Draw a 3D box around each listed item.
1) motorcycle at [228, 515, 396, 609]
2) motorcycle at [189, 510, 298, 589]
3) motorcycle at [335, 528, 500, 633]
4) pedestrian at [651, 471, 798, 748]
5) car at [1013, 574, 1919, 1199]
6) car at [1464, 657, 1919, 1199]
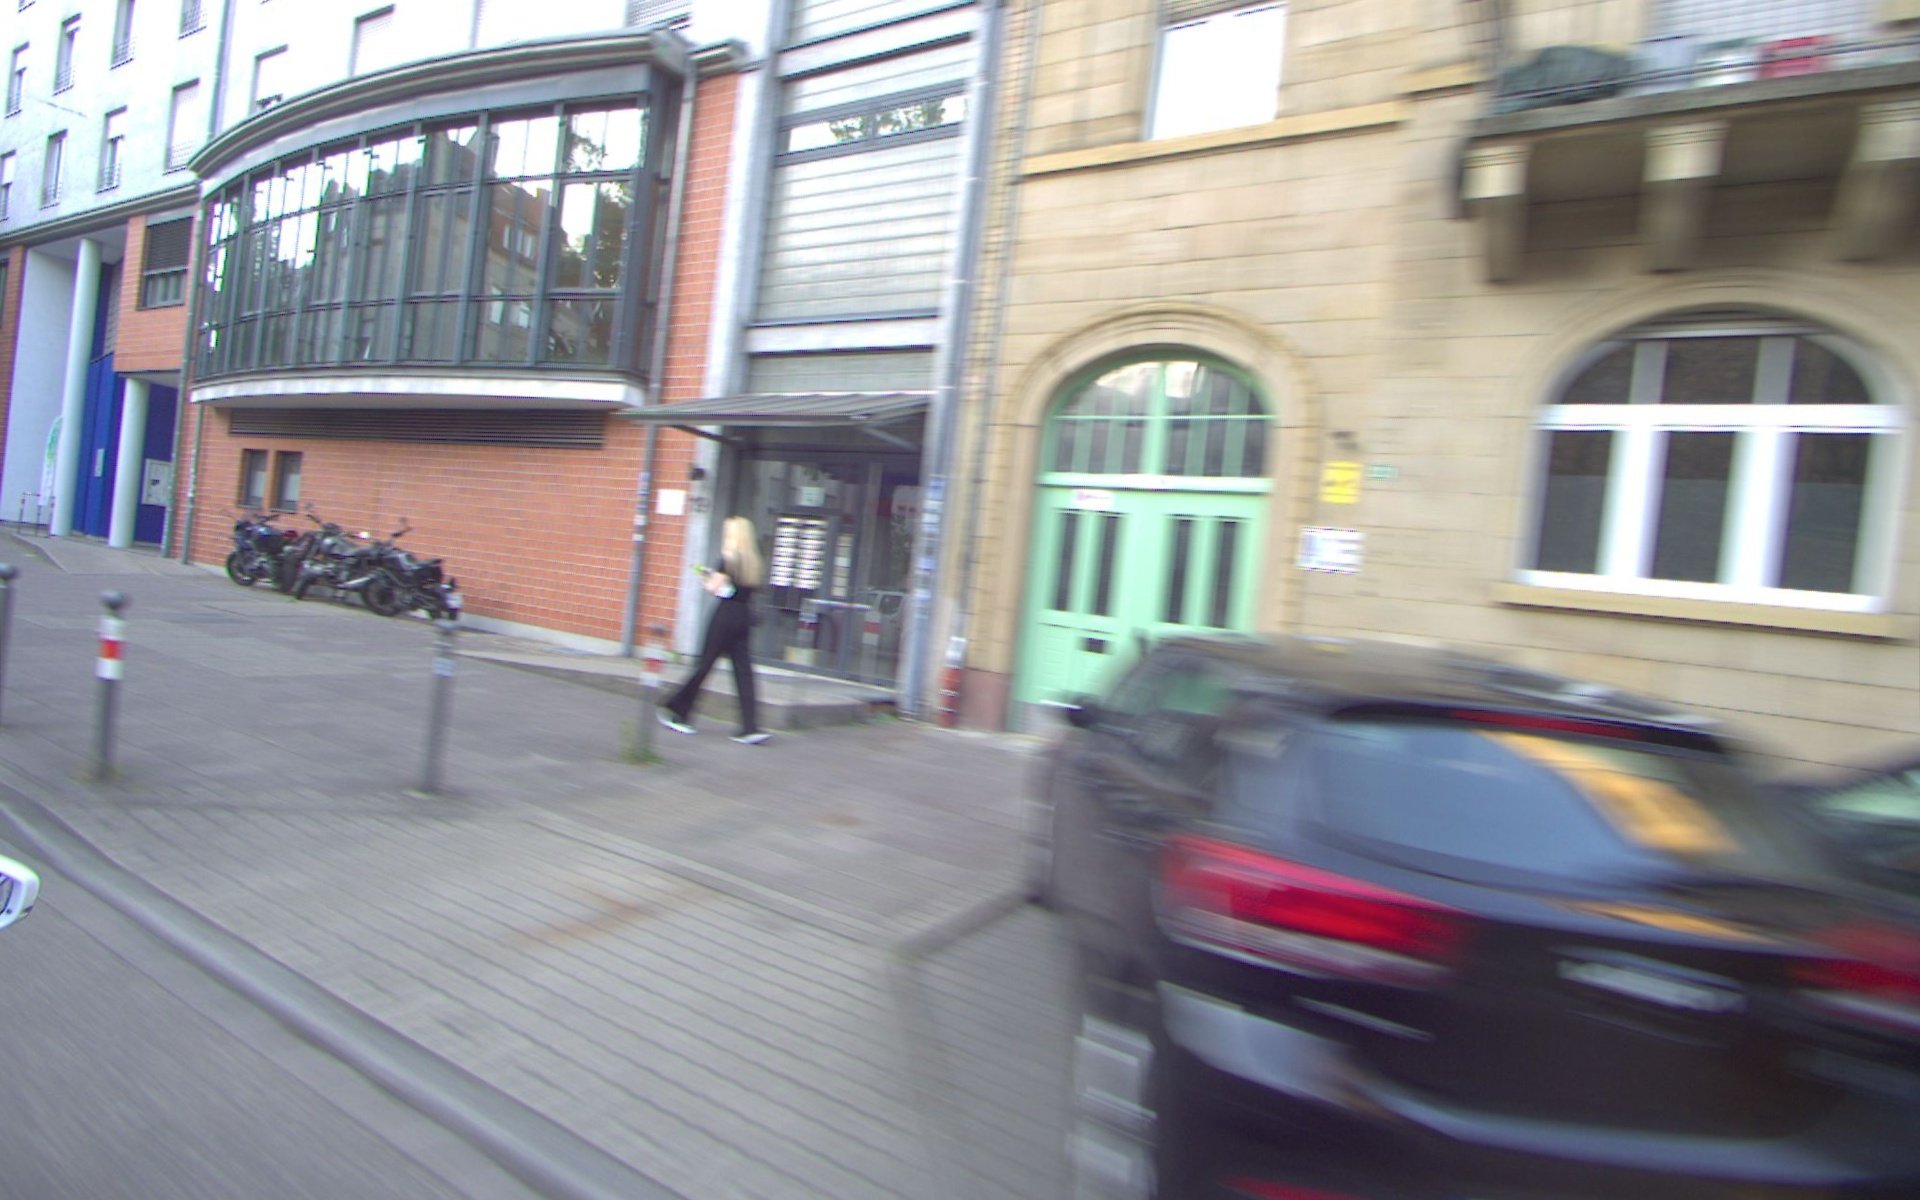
[{"bbox_3d":[-9.815,-0.582,15.228,2.371,1.154,0.777,7,2,19],"label":"motorcycle"},{"bbox_3d":[-11.785,-0.838,16.528,2.048,1.118,0.588,7,3,29],"label":"motorcycle"},{"bbox_3d":[-7.333,-0.278,13.550,2.399,1.154,0.800,7,3,31],"label":"motorcycle"},{"bbox_3d":[-1.862,0.051,7.935,0.843,2.042,0.606,7,5,33],"label":"pedestrian"},{"bbox_3d":[1.190,0.845,3.580,1.692,1.510,4.070,7,-1,1],"label":"car"},{"bbox_3d":[3.202,1.089,2.406,1.877,1.521,4.358,7,-1,4],"label":"car"}]
